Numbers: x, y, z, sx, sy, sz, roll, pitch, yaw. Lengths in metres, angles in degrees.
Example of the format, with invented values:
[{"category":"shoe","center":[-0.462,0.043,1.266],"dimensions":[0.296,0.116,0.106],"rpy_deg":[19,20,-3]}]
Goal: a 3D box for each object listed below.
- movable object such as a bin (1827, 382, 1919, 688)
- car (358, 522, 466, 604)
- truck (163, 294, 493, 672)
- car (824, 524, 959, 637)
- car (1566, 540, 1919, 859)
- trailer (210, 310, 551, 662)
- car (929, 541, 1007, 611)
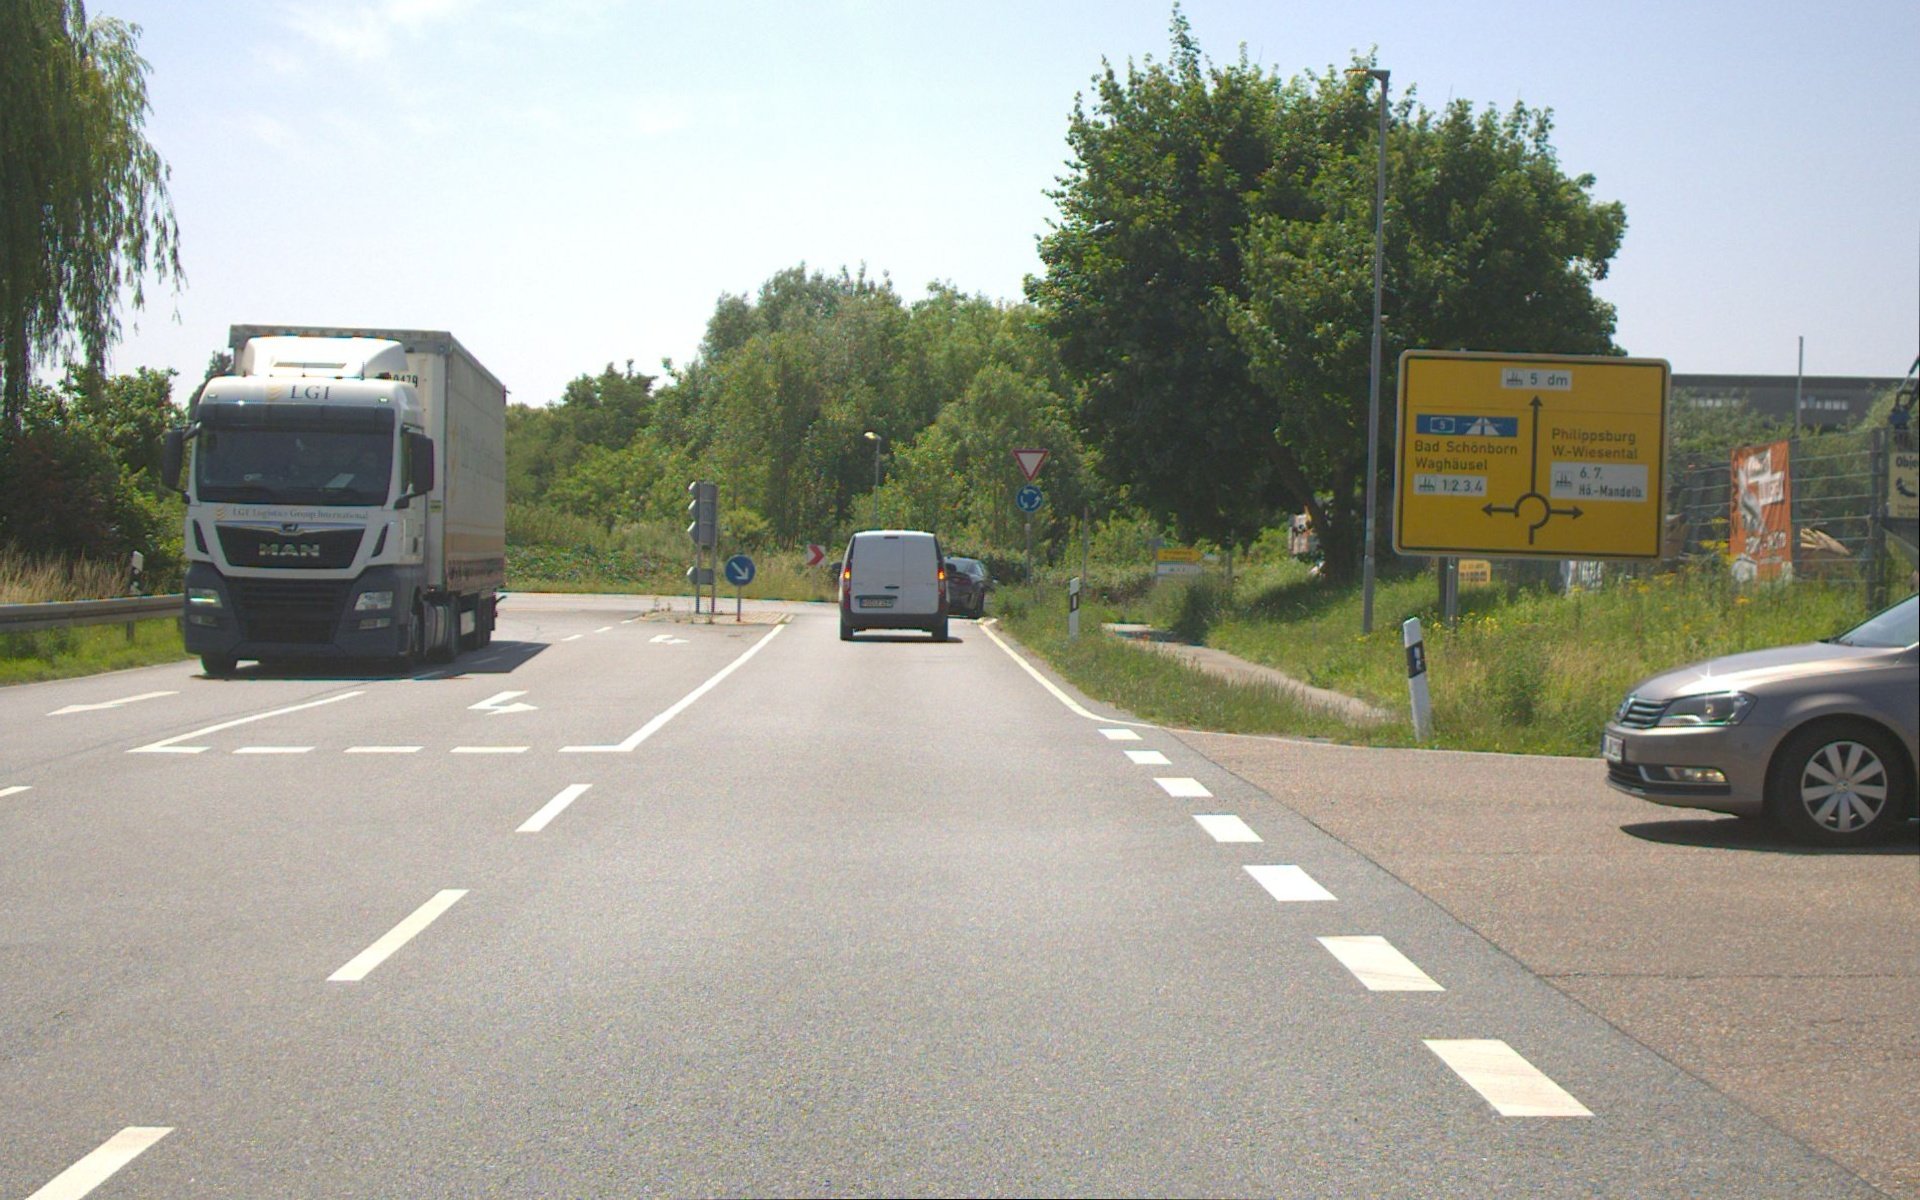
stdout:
[{"category":"movable object such as a bin","center":[11.308,-0.635,37.243],"dimensions":[2.323,3.239,5.101],"rpy_deg":[3,-1,-1]},{"category":"car","center":[-10.710,-0.737,67.059],"dimensions":[1.846,1.562,4.001],"rpy_deg":[0,1,-12]},{"category":"truck","center":[-7.448,-1.368,41.410],"dimensions":[2.789,4.042,6.755],"rpy_deg":[3,1,-2]},{"category":"car","center":[-1.161,-0.327,56.443],"dimensions":[1.903,1.726,3.823],"rpy_deg":[2,0,-5]},{"category":"car","center":[5.496,0.476,17.371],"dimensions":[4.511,1.503,1.914],"rpy_deg":[1,1,0]},{"category":"trailer","center":[-7.694,-1.500,47.654],"dimensions":[2.789,4.042,13.504],"rpy_deg":[3,1,-2]},{"category":"car","center":[0.177,-0.609,84.252],"dimensions":[1.805,1.550,4.001],"rpy_deg":[1,2,-1]}]
